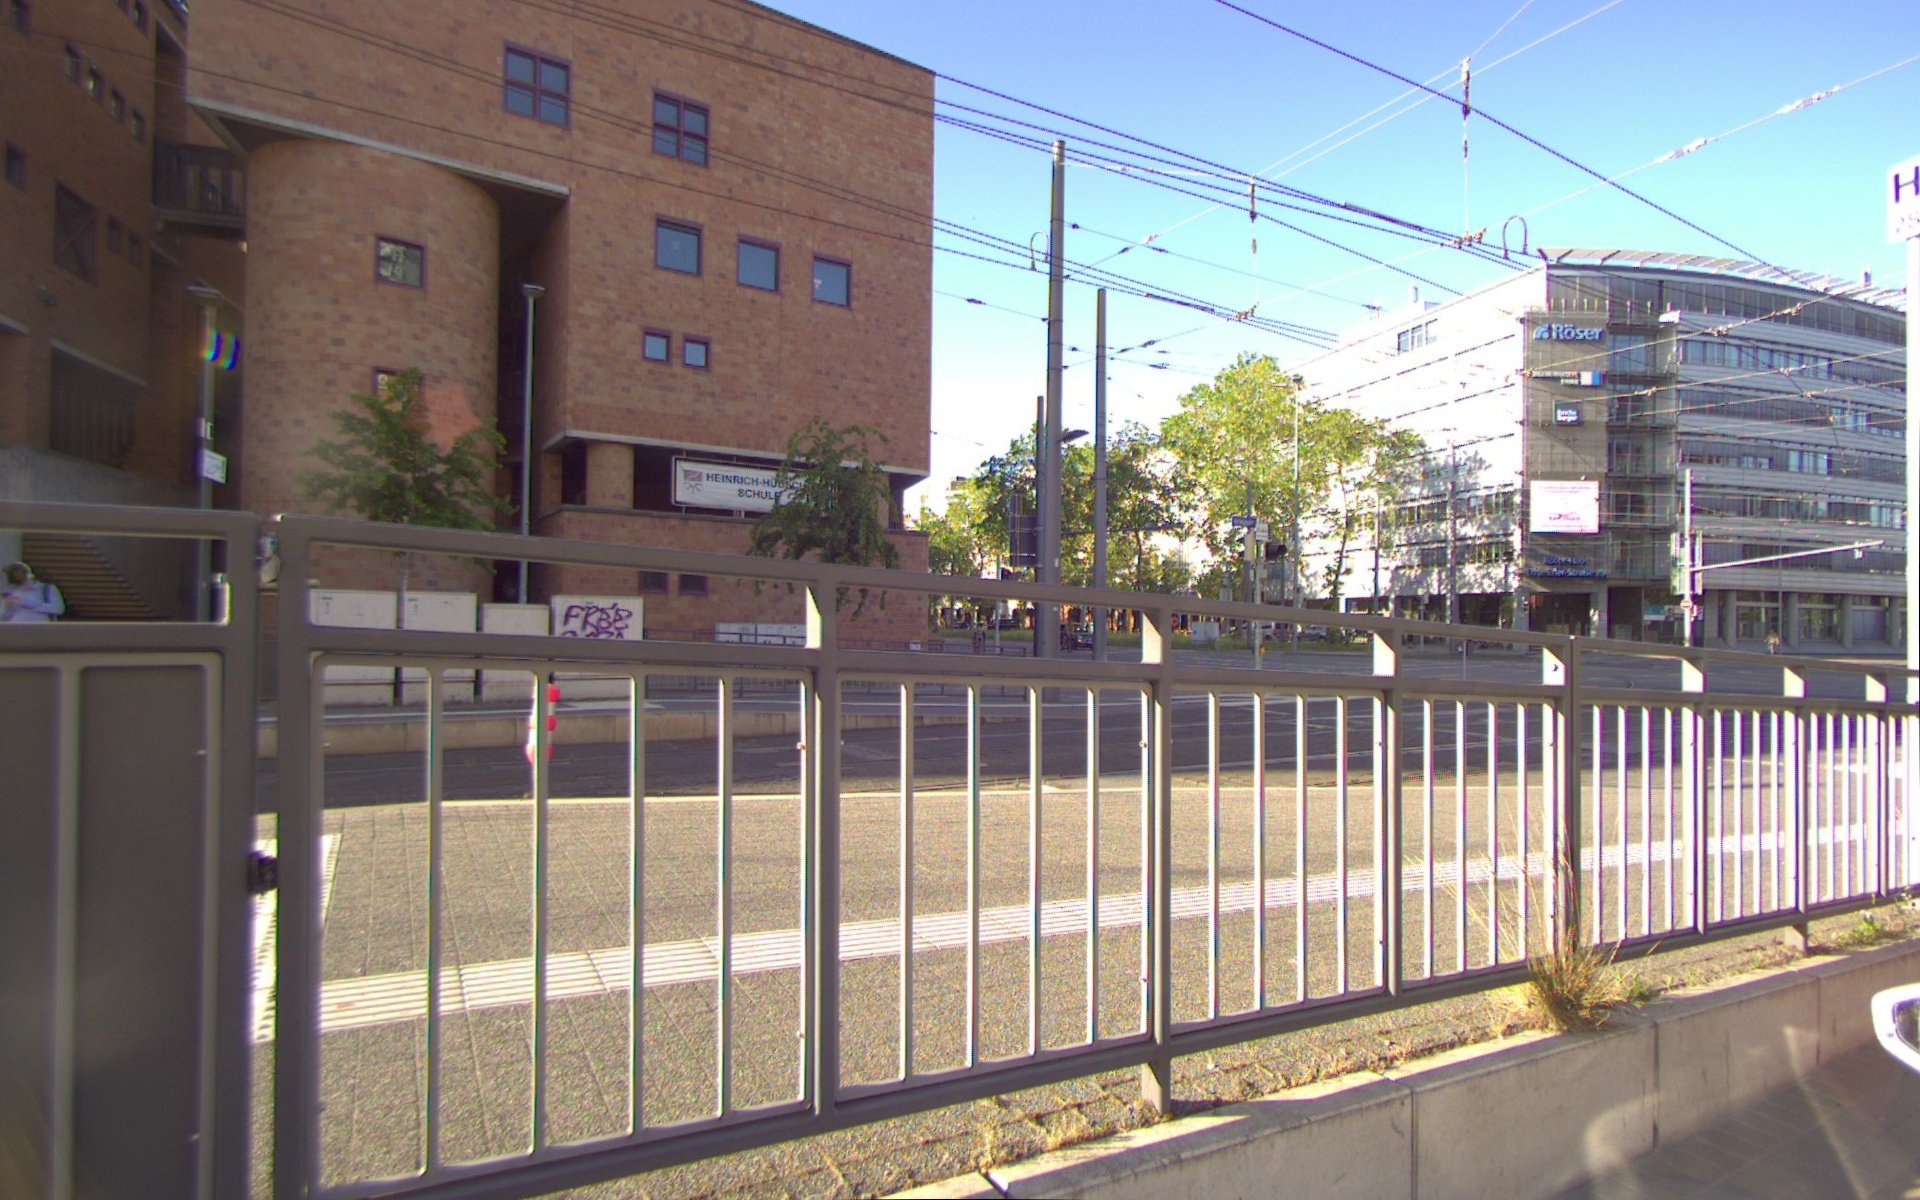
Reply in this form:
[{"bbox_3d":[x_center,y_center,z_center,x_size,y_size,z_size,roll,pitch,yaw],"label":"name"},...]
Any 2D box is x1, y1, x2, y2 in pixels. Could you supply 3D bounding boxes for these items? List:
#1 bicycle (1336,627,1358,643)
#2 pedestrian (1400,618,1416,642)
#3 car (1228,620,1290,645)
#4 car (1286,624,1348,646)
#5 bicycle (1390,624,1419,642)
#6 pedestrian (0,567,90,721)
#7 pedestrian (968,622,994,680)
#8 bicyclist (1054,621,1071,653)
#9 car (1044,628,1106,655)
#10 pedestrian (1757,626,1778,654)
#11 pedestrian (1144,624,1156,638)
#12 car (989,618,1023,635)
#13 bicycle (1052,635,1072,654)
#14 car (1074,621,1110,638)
[{"bbox_3d":[30.548,2.748,79.306,1.812,1.167,0.467,0,0,-23],"label":"bicycle"},{"bbox_3d":[31.571,2.075,70.746,0.598,1.633,0.832,-2,2,-26],"label":"pedestrian"},{"bbox_3d":[24.174,2.610,81.283,1.904,1.868,4.889,-1,0,-28],"label":"car"},{"bbox_3d":[27.106,2.629,76.381,1.840,1.594,4.387,-1,0,-25],"label":"car"},{"bbox_3d":[31.205,2.291,70.540,0.605,1.179,1.835,-2,2,-27],"label":"bicycle"},{"bbox_3d":[-9.658,0.450,10.559,0.647,1.555,0.696,1,-1,-33],"label":"pedestrian"},{"bbox_3d":[0.598,1.466,28.920,0.501,1.639,0.504,2,0,-40],"label":"pedestrian"},{"bbox_3d":[5.396,1.919,52.725,0.614,1.643,0.812,1,-1,-16],"label":"bicyclist"},{"bbox_3d":[6.529,2.345,57.208,1.637,1.346,3.591,2,0,-31],"label":"car"},{"bbox_3d":[52.824,2.617,65.690,0.872,1.847,0.674,1,-2,-20],"label":"pedestrian"},{"bbox_3d":[20.724,3.376,109.420,0.860,1.567,0.989,1,-1,-22],"label":"pedestrian"},{"bbox_3d":[5.313,3.083,117.506,2.011,2.003,4.382,0,-1,-29],"label":"car"},{"bbox_3d":[5.357,2.328,52.786,0.528,0.925,1.564,1,-1,-15],"label":"bicycle"},{"bbox_3d":[13.395,2.993,102.215,1.840,1.660,3.844,1,-1,-25],"label":"car"}]
